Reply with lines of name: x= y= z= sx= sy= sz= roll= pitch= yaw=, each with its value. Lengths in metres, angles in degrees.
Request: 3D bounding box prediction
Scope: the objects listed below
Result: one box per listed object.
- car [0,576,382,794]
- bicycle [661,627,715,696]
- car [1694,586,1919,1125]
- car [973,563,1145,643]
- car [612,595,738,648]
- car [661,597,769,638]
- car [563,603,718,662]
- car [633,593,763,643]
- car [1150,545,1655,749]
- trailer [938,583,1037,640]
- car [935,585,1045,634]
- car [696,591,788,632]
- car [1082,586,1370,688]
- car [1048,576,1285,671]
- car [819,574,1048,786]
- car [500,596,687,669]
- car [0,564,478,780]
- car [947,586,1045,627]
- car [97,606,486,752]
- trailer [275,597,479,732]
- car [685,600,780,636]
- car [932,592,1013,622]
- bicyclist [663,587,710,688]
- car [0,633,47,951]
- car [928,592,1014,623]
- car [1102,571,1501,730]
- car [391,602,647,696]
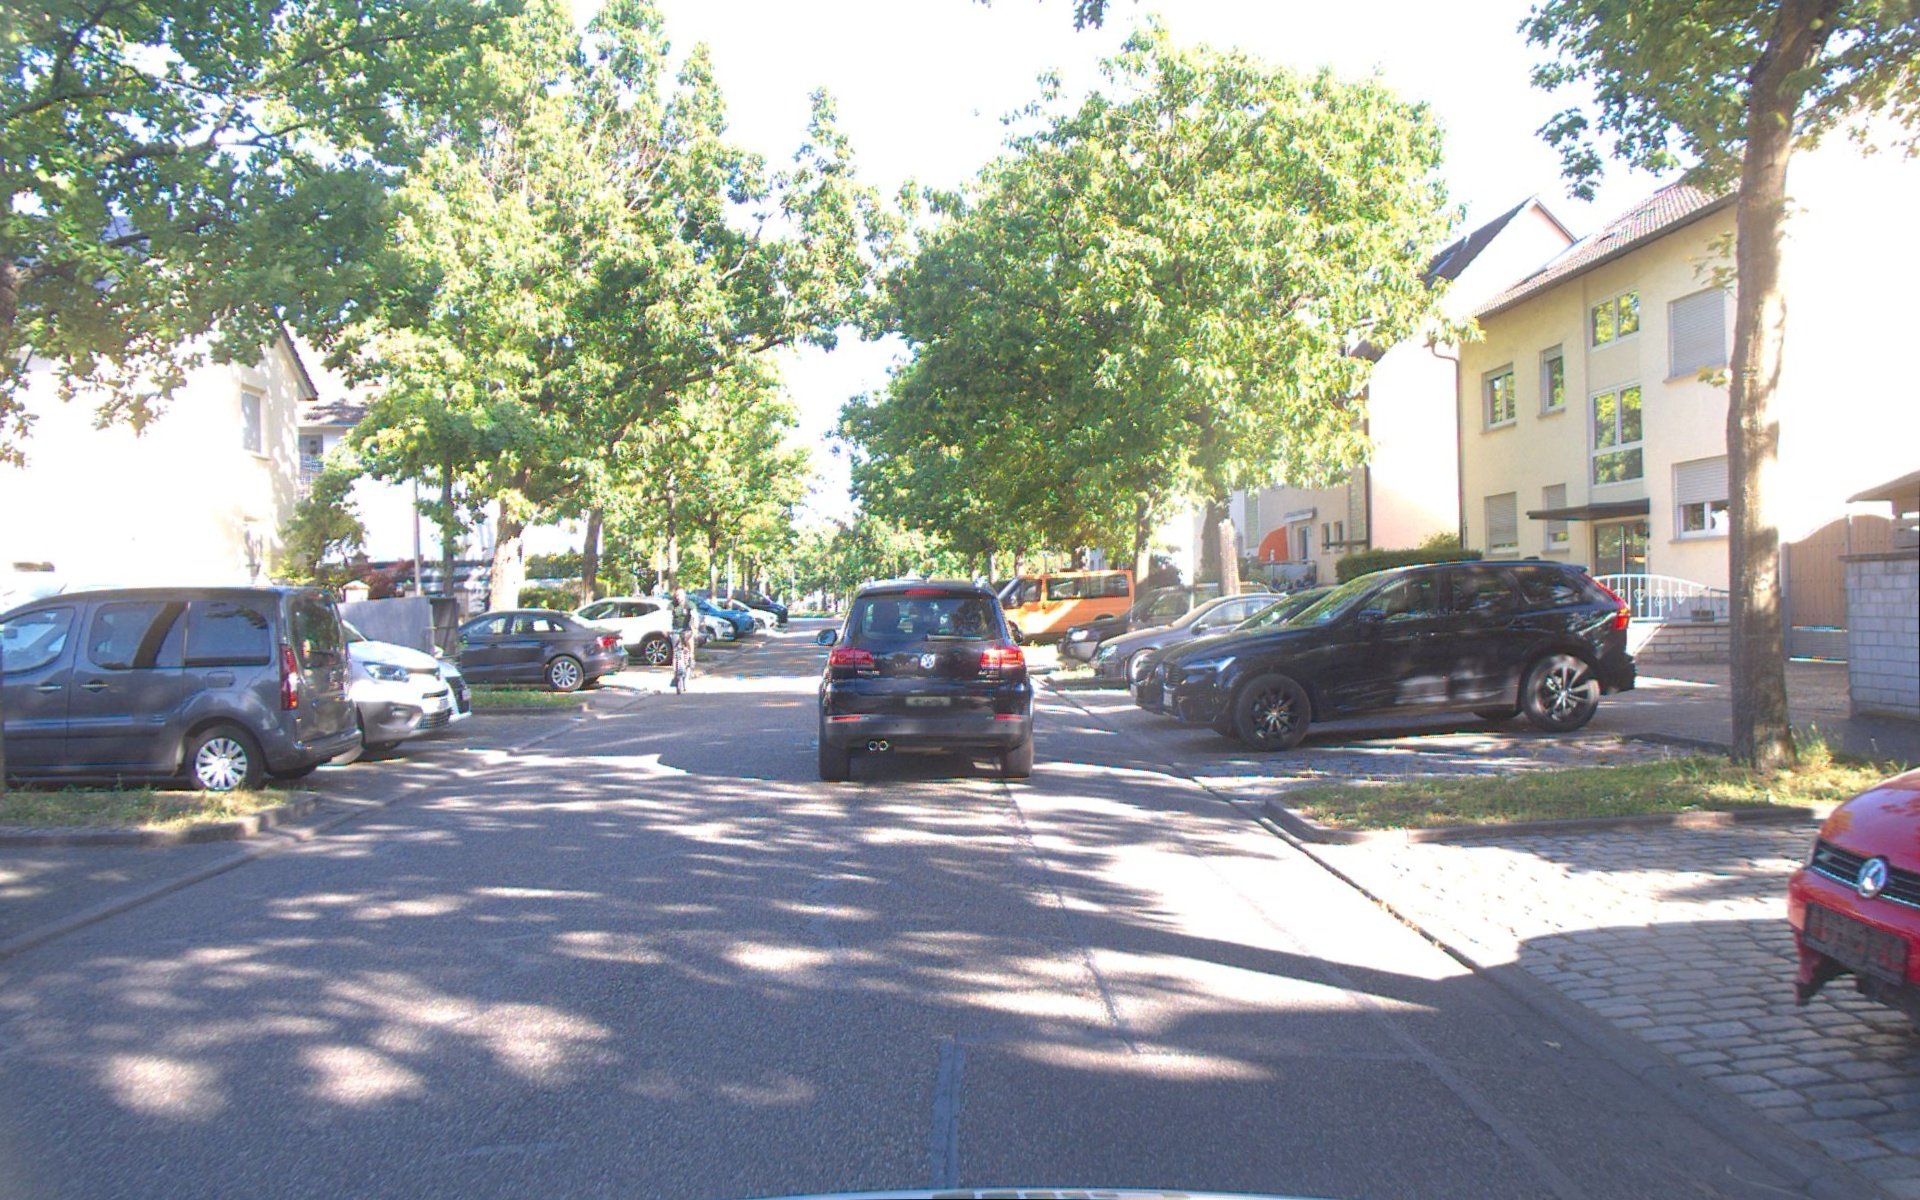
car: x=-7.530 y=0.700 z=14.653 sx=4.156 sy=1.801 sz=1.965 roll=0 pitch=0 yaw=-5
bicycle: x=-4.736 y=1.053 z=28.919 sx=0.584 sy=1.077 sz=1.985 roll=-4 pitch=0 yaw=-1
car: x=4.508 y=0.636 z=5.043 sx=3.701 sy=1.510 sz=1.755 roll=-3 pitch=-1 yaw=-1
car: x=2.823 y=0.087 z=48.031 sx=4.723 sy=2.119 sz=2.085 roll=-2 pitch=0 yaw=-3
car: x=-9.492 y=0.713 z=55.325 sx=3.908 sy=1.623 sz=1.856 roll=-2 pitch=-1 yaw=-3
car: x=-9.759 y=0.701 z=66.154 sx=4.099 sy=1.518 sz=1.646 roll=-2 pitch=-1 yaw=-3
car: x=-8.752 y=0.879 z=45.509 sx=3.955 sy=1.448 sz=1.808 roll=-2 pitch=0 yaw=-5
car: x=-9.426 y=0.650 z=59.766 sx=4.434 sy=1.660 sz=1.936 roll=-2 pitch=-1 yaw=-3
car: x=4.306 y=0.437 z=16.556 sx=4.483 sy=1.675 sz=1.837 roll=-3 pitch=0 yaw=-3
trailer: x=0.864 y=0.371 z=52.592 sx=2.891 sy=1.693 sz=1.611 roll=-2 pitch=0 yaw=-9
car: x=1.078 y=0.346 z=60.485 sx=3.907 sy=1.652 sz=1.757 roll=-2 pitch=0 yaw=-2
car: x=-11.423 y=0.595 z=86.829 sx=4.687 sy=1.950 sz=2.016 roll=-2 pitch=0 yaw=-6
car: x=4.252 y=0.576 z=26.846 sx=4.338 sy=1.354 sz=1.690 roll=-3 pitch=0 yaw=-1
car: x=3.960 y=0.441 z=32.124 sx=4.252 sy=1.587 sz=1.866 roll=-3 pitch=0 yaw=-4
car: x=-0.254 y=0.638 z=15.081 sx=1.800 sy=1.665 sz=3.957 roll=-1 pitch=0 yaw=-1
car: x=-8.843 y=0.773 z=40.109 sx=4.103 sy=1.594 sz=1.791 roll=-2 pitch=0 yaw=-2
car: x=-7.368 y=0.704 z=17.195 sx=4.154 sy=1.978 sz=1.998 roll=-2 pitch=-1 yaw=-5
car: x=1.416 y=0.255 z=66.820 sx=3.805 sy=1.542 sz=1.660 roll=-2 pitch=0 yaw=-3
car: x=-7.856 y=0.899 z=19.709 sx=3.908 sy=1.543 sz=1.689 roll=-2 pitch=0 yaw=-3
trailer: x=-7.857 y=0.844 z=22.415 sx=2.189 sy=1.703 sz=1.475 roll=-1 pitch=0 yaw=1
car: x=-10.456 y=0.808 z=76.176 sx=4.191 sy=1.504 sz=1.767 roll=-2 pitch=0 yaw=-4
car: x=0.664 y=0.371 z=88.811 sx=4.192 sy=1.439 sz=1.795 roll=-2 pitch=0 yaw=-4
bicyclist: x=-4.770 y=0.639 z=28.883 sx=0.584 sy=1.703 sz=0.975 roll=-4 pitch=0 yaw=-2
car: x=-6.836 y=0.994 z=7.425 sx=4.386 sy=1.526 sz=1.836 roll=-2 pitch=0 yaw=-2
car: x=0.538 y=0.397 z=85.801 sx=4.261 sy=1.386 sz=1.872 roll=-2 pitch=-1 yaw=-5
car: x=3.942 y=0.559 z=19.529 sx=4.234 sy=1.556 sz=1.839 roll=-3 pitch=0 yaw=-3
car: x=-7.863 y=0.847 z=29.758 sx=4.127 sy=1.497 sz=1.689 roll=-2 pitch=0 yaw=-3
